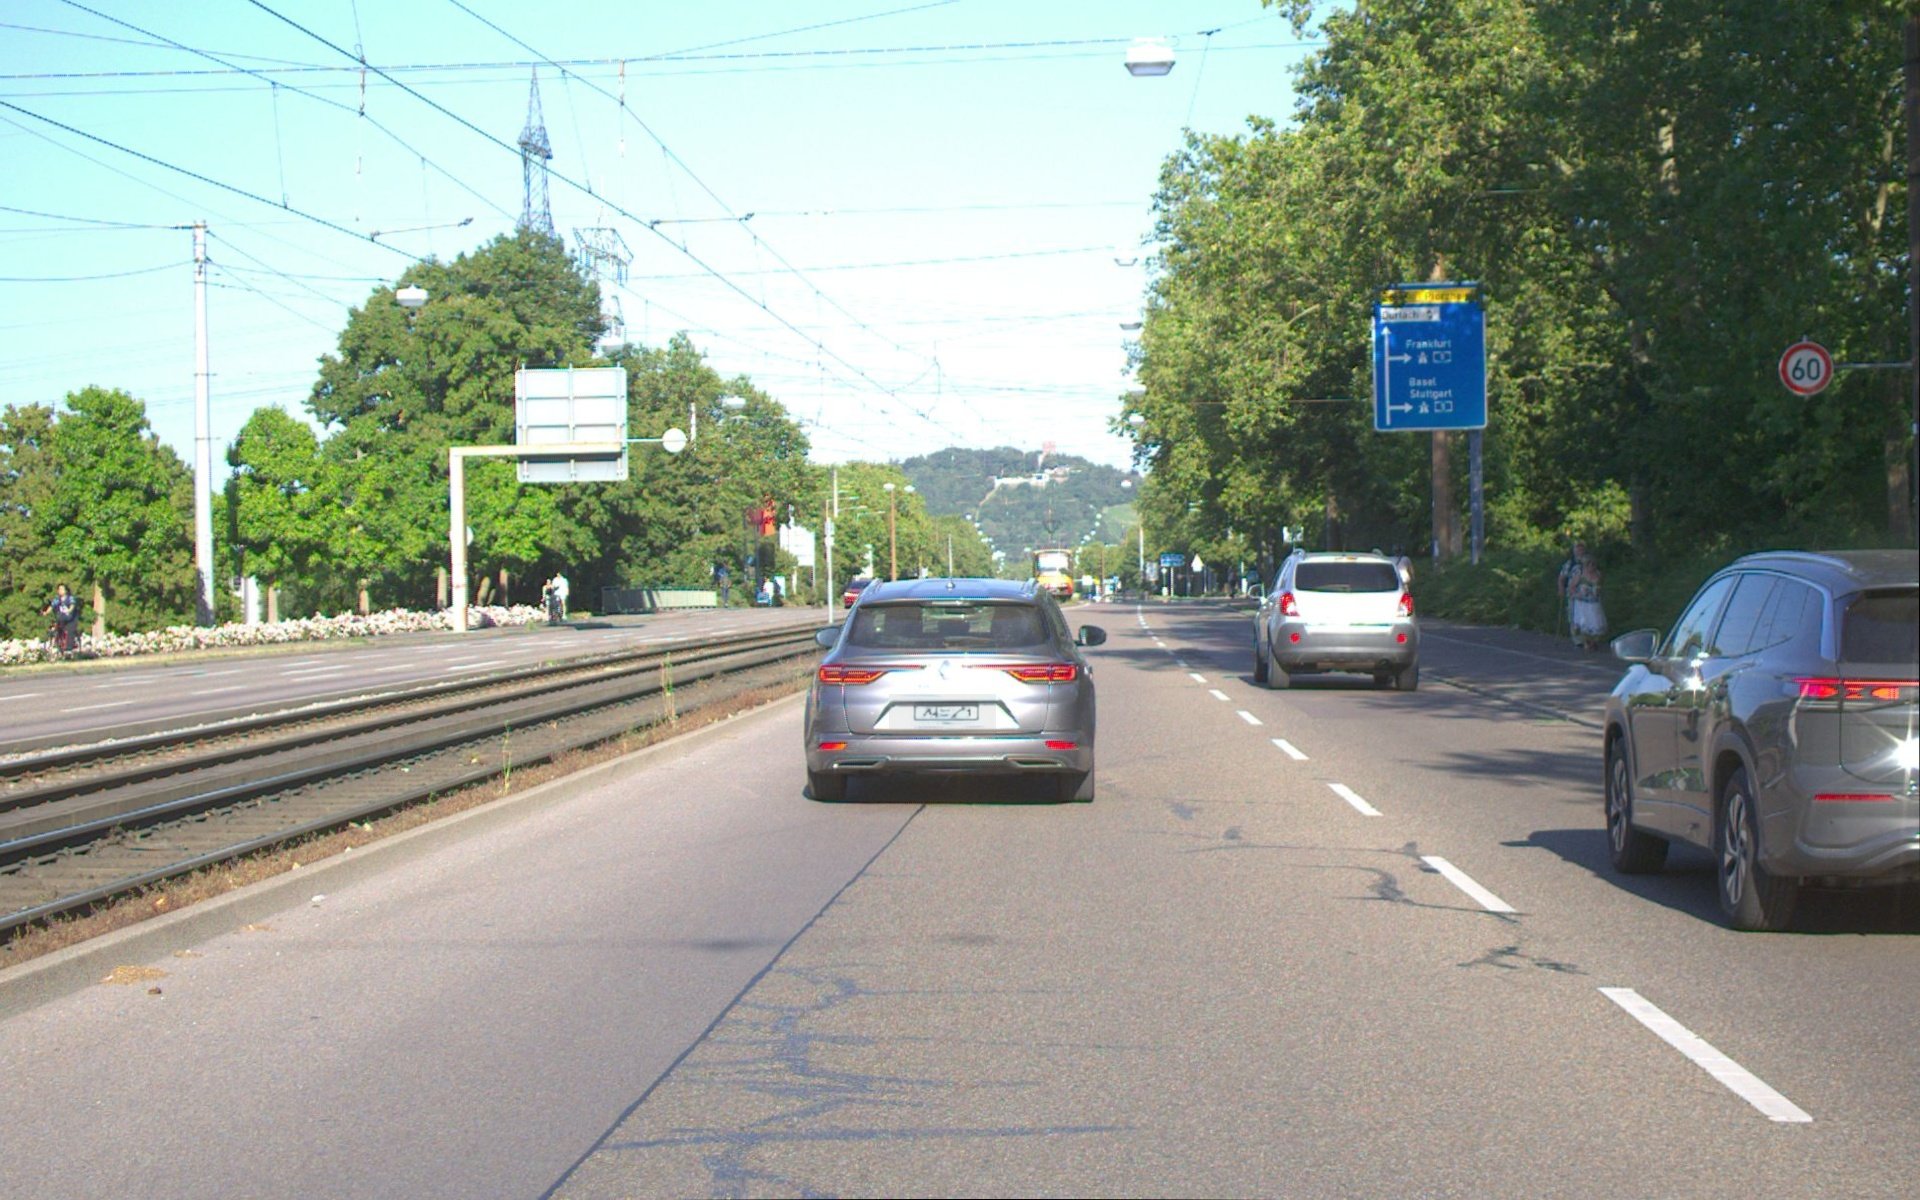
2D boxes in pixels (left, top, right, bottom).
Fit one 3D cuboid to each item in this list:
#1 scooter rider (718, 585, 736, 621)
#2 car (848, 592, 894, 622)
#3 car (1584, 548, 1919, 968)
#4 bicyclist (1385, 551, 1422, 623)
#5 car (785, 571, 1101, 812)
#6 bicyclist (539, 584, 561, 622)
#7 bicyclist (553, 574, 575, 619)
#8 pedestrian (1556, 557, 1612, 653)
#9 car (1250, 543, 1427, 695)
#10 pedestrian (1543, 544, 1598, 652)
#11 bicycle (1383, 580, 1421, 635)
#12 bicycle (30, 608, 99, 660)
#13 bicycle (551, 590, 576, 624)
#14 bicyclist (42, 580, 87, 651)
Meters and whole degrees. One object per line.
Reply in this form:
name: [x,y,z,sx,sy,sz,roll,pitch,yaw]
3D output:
scooter rider: [-12.172,0.143,179.750,0.682,1.842,1.000,-1,0,10]
car: [-4.689,0.347,182.352,2.040,1.498,4.887,-1,1,3]
car: [4.188,0.604,15.799,1.844,1.655,4.440,1,1,1]
bicyclist: [9.311,-0.271,72.194,0.685,1.503,0.890,0,1,3]
car: [-0.009,0.543,23.374,1.866,1.462,4.665,0,1,3]
bicyclist: [-14.949,0.097,125.444,0.625,1.369,0.880,2,1,3]
bicyclist: [-15.004,-0.135,130.345,0.602,1.653,0.963,2,1,6]
pedestrian: [9.734,0.076,53.662,0.723,1.475,0.722,-2,0,2]
car: [4.749,0.201,43.570,1.883,1.789,4.000,2,1,2]
pedestrian: [9.775,-0.029,55.088,0.722,1.702,0.813,-2,0,2]
bicycle: [9.298,0.146,72.346,0.622,1.116,1.813,-2,0,2]
bicycle: [-20.722,0.782,79.590,0.661,1.147,2.021,2,1,12]
bicycle: [-15.020,0.261,130.289,0.602,1.215,1.748,2,1,3]
bicyclist: [-20.718,0.346,79.550,0.661,1.618,0.801,2,1,12]
